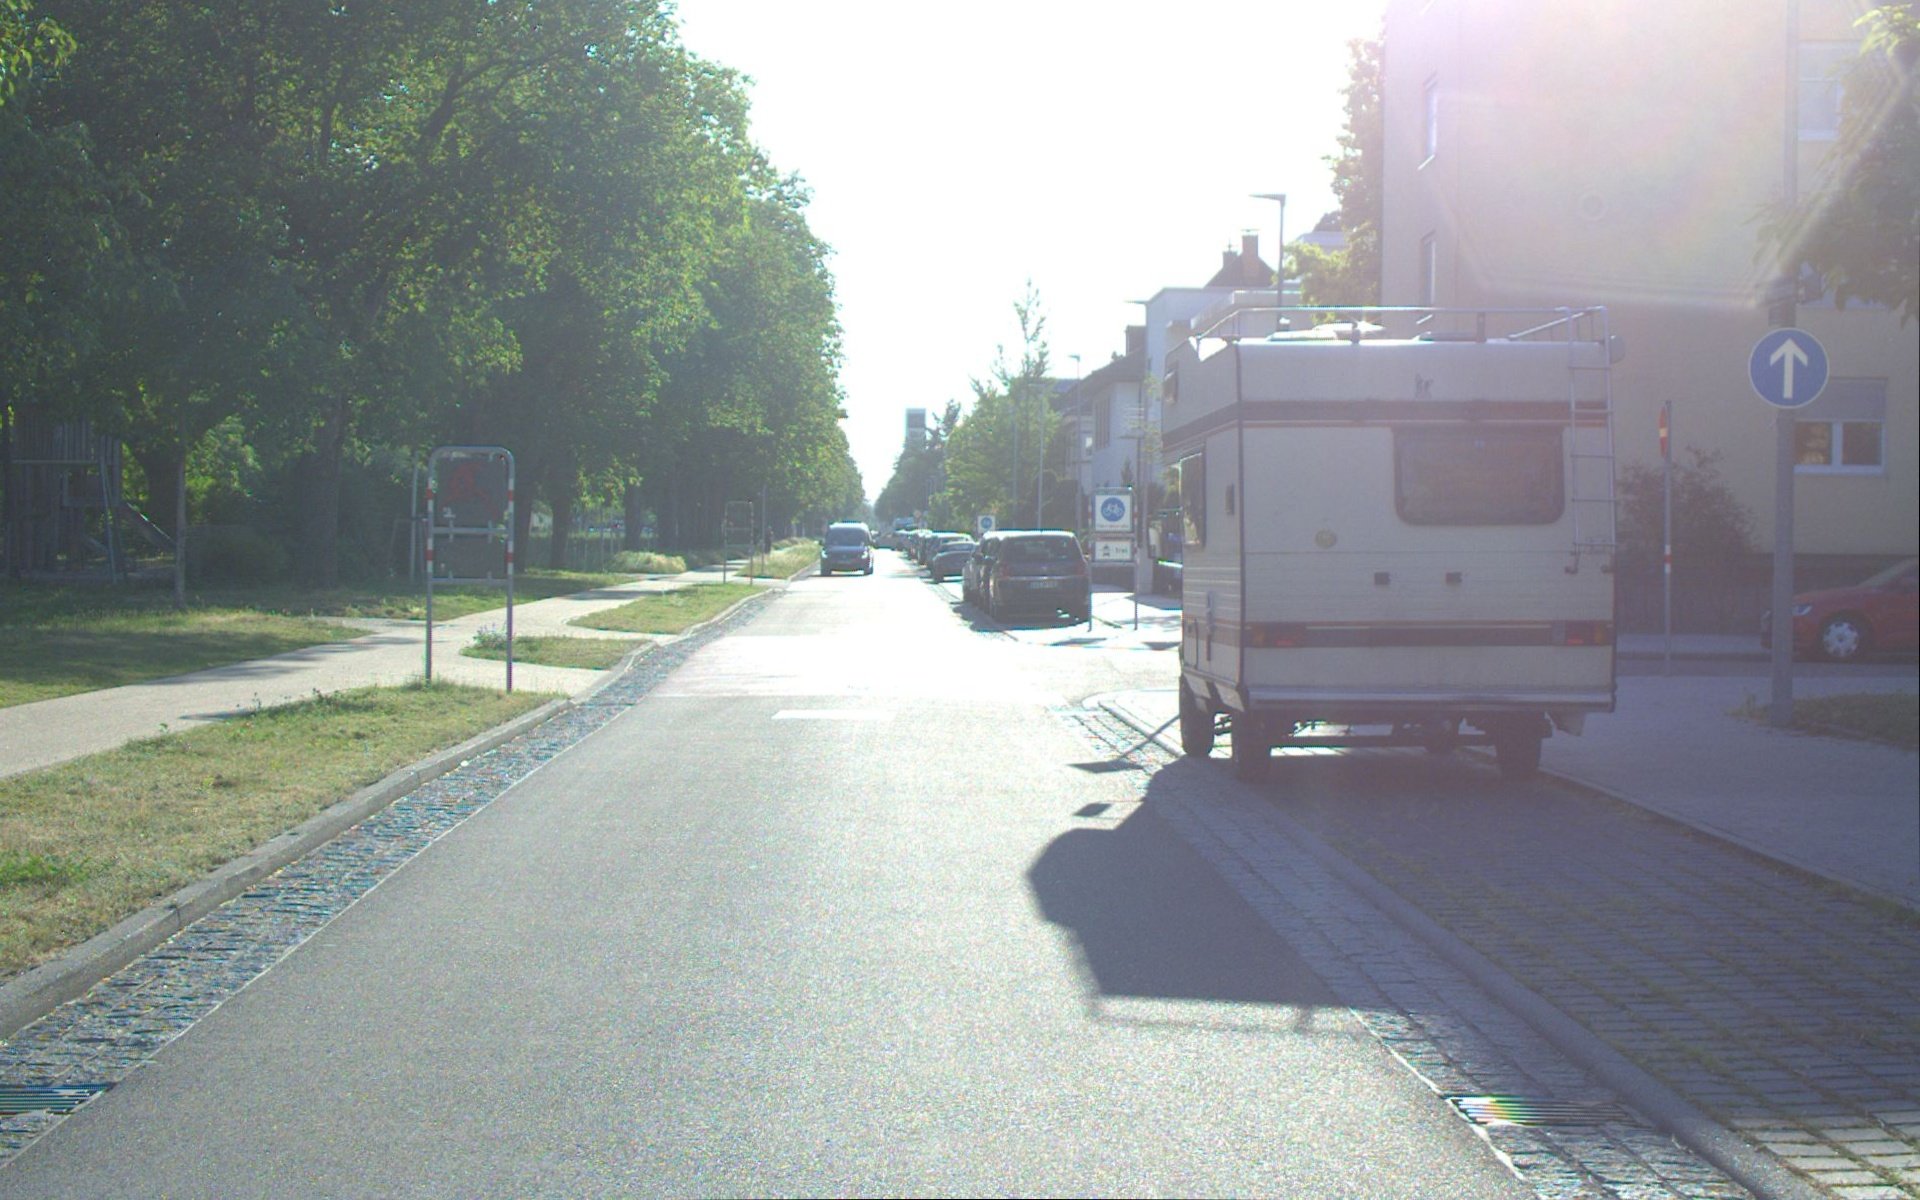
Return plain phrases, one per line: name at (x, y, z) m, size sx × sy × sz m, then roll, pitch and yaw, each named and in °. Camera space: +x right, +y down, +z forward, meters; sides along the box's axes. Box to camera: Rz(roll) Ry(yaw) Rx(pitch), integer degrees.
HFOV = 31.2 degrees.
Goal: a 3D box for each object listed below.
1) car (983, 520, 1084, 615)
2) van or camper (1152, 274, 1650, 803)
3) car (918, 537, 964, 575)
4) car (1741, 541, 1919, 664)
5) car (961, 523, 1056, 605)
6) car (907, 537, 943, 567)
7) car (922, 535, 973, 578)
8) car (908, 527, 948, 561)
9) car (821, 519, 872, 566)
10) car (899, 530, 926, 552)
car at (1.328, -0.610, 63.323) m, size 1.626 × 1.663 × 4.250 m, roll 0°, pitch 1°, yaw -2°
van or camper at (2.587, -0.334, 21.749) m, size 2.234 × 2.894 × 5.673 m, roll 0°, pitch 0°, yaw -2°
car at (-0.721, -1.647, 128.420) m, size 1.626 × 1.405 × 4.250 m, roll 0°, pitch 1°, yaw -2°
car at (12.309, 0.022, 44.065) m, size 4.195 × 1.525 × 2.000 m, roll 1°, pitch 1°, yaw 3°
car at (1.072, -0.778, 74.231) m, size 1.993 × 1.711 × 4.000 m, roll 0°, pitch 1°, yaw 1°
car at (-1.679, -2.297, 164.153) m, size 1.626 × 1.405 × 4.250 m, roll 0°, pitch 1°, yaw -2°
car at (-0.434, -1.480, 116.947) m, size 1.626 × 1.405 × 4.250 m, roll 0°, pitch 1°, yaw -2°
car at (-1.378, -2.413, 148.552) m, size 1.626 × 1.405 × 4.250 m, roll 0°, pitch 1°, yaw -2°
car at (-4.102, -2.080, 124.653) m, size 1.825 × 1.663 × 4.250 m, roll 0°, pitch 1°, yaw -2°
car at (-3.013, -3.716, 217.050) m, size 1.626 × 1.405 × 4.250 m, roll 0°, pitch 1°, yaw -2°
